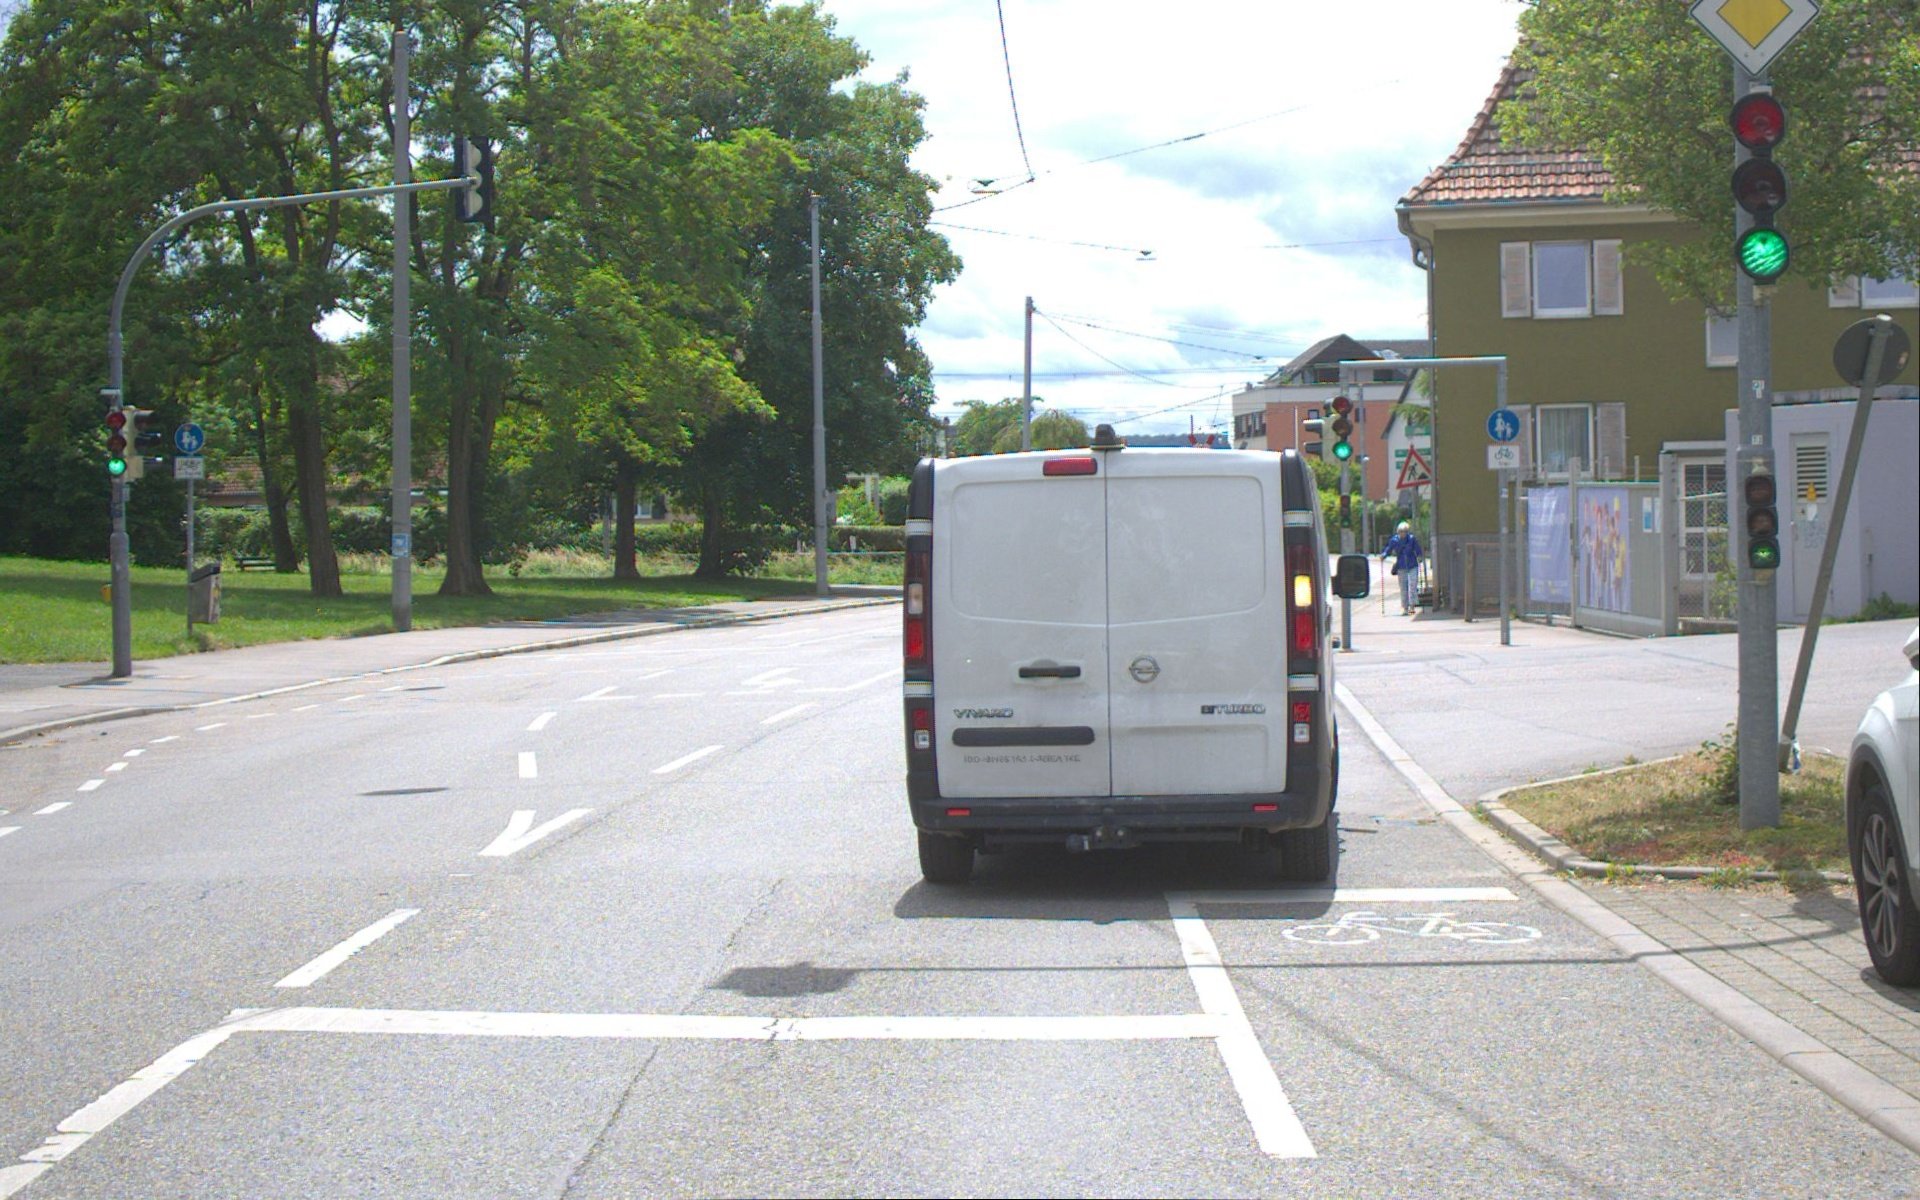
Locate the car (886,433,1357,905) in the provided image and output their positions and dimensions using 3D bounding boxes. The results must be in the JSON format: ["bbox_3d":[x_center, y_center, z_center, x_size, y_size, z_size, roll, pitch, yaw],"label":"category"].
[{"bbox_3d":[0.945,0.243,16.814,1.939,1.954,4.832,1,1,7],"label":"car"}]

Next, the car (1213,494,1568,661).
[{"bbox_3d":[4.765,-0.226,38.534,1.603,1.601,3.999,-6,1,-34],"label":"car"}]

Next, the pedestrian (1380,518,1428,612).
[{"bbox_3d":[7.544,-0.596,58.478,0.678,1.548,0.835,-3,-1,3],"label":"pedestrian"}]

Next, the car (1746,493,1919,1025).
[{"bbox_3d":[3.733,0.435,10.053,1.737,1.611,4.387,-4,1,0],"label":"car"}]
